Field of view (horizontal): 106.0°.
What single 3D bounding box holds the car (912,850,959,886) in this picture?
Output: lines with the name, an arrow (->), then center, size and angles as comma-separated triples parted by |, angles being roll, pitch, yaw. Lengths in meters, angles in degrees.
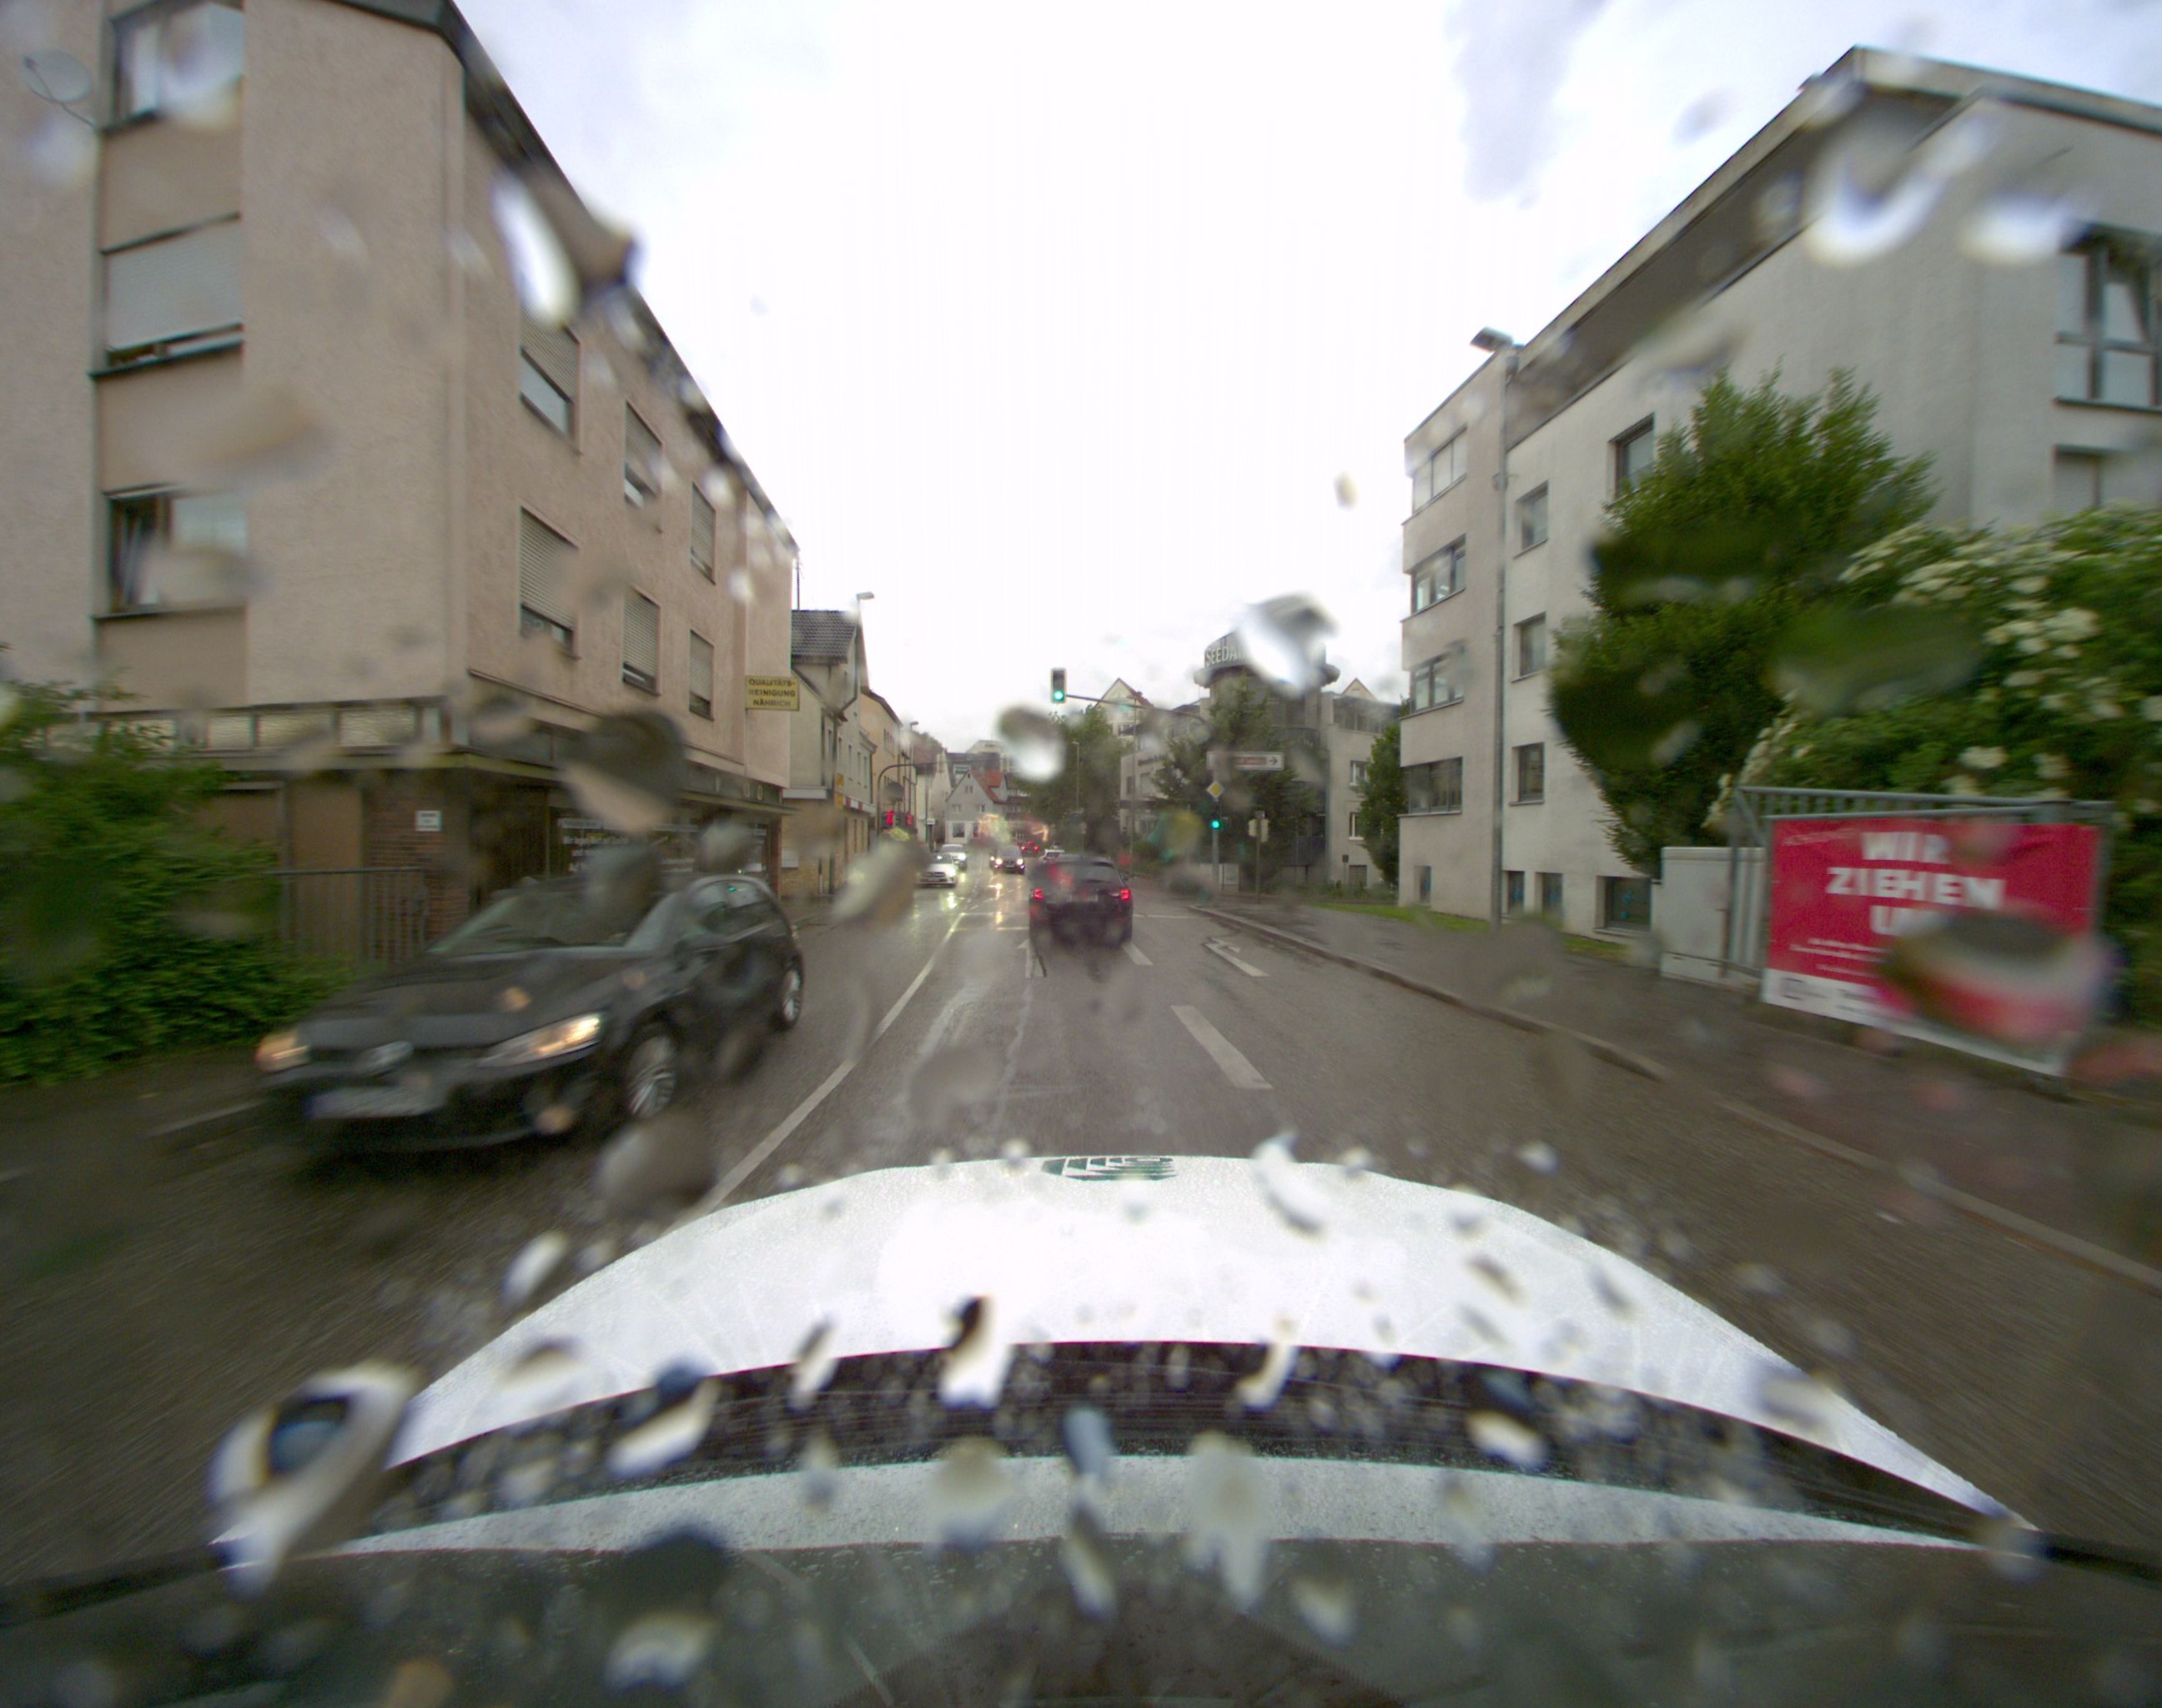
car -> -6.247, 0.565, 35.346 | 1.688, 1.372, 4.104 | -1, 1, -6

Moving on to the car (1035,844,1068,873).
car -> -1.832, 0.331, 50.026 | 1.725, 1.591, 4.175 | 2, -2, -6

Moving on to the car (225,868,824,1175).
car -> -3.293, 0.832, 5.897 | 1.766, 1.402, 3.915 | -1, -1, -3

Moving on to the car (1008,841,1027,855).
car -> -7.705, -0.733, 99.022 | 1.893, 1.682, 3.674 | 0, 0, -11

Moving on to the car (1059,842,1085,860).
car -> -0.847, -0.287, 74.909 | 1.852, 1.641, 3.527 | -1, 1, -9

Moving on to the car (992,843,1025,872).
car -> -4.418, 0.265, 49.276 | 1.783, 1.563, 4.389 | 1, -2, -8

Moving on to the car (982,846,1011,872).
car -> -5.662, 0.300, 54.520 | 1.783, 1.562, 4.391 | 1, 1, -8

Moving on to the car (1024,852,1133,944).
car -> -0.148, 0.717, 15.443 | 1.778, 1.483, 4.241 | 0, 0, -3

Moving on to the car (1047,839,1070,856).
car -> -2.252, -0.689, 80.712 | 1.852, 1.641, 3.859 | -1, 1, -9

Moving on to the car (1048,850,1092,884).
car -> -0.490, 0.530, 35.674 | 1.813, 1.359, 3.988 | 1, 1, -1

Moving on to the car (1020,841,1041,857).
car -> -5.230, -0.498, 83.754 | 1.892, 1.590, 3.677 | 0, 0, -9

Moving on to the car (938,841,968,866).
car -> -8.312, -0.061, 53.113 | 1.783, 1.560, 4.326 | 0, 1, -7
